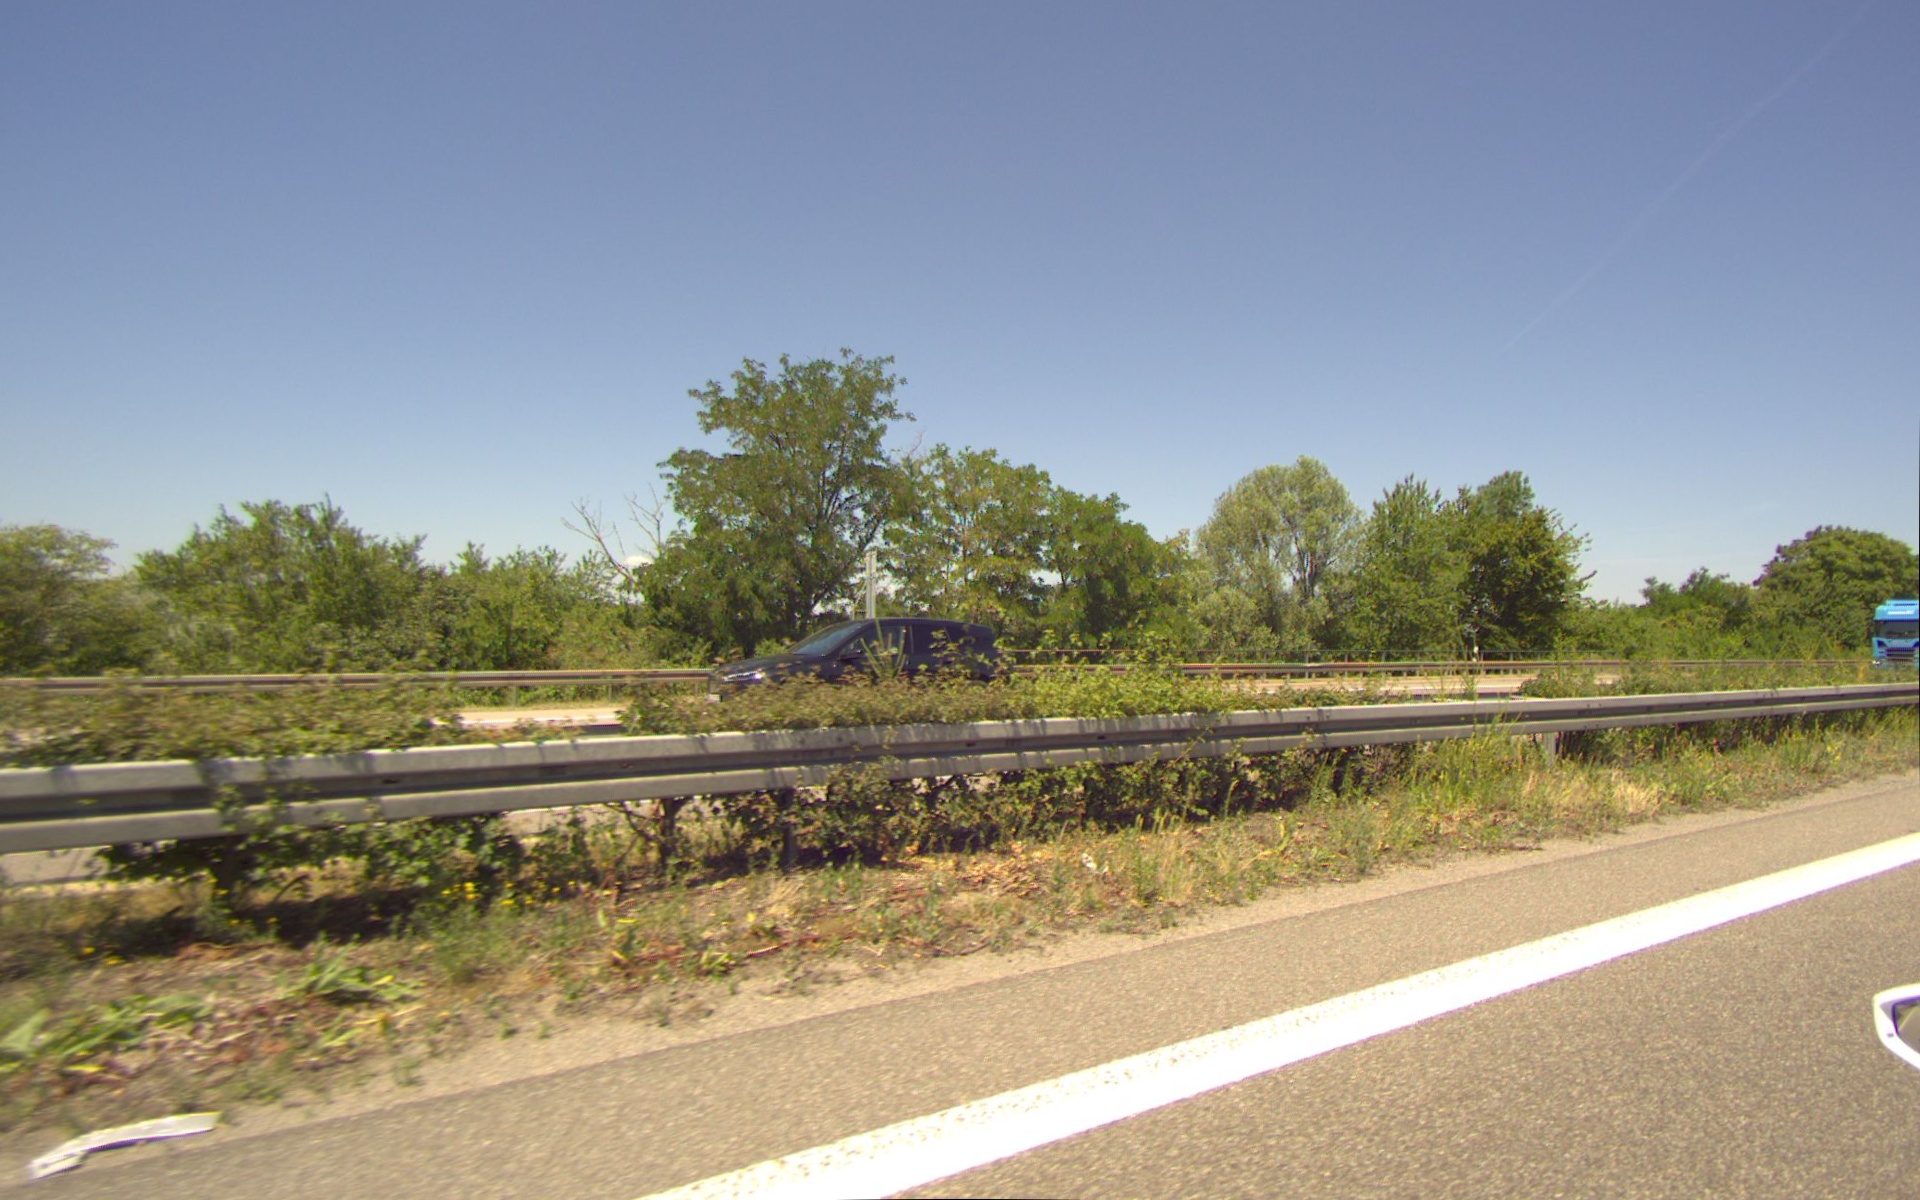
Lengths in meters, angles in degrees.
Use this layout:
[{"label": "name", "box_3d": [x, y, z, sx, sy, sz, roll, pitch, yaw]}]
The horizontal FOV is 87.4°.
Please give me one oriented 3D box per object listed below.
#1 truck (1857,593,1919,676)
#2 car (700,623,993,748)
[{"label": "truck", "box_3d": [53.938, 2.000, 55.113, 15.758, 4.106, 2.714, 2, -2, -32]}, {"label": "car", "box_3d": [-1.682, 1.196, 15.178, 3.956, 1.639, 1.983, 2, -2, -32]}]
